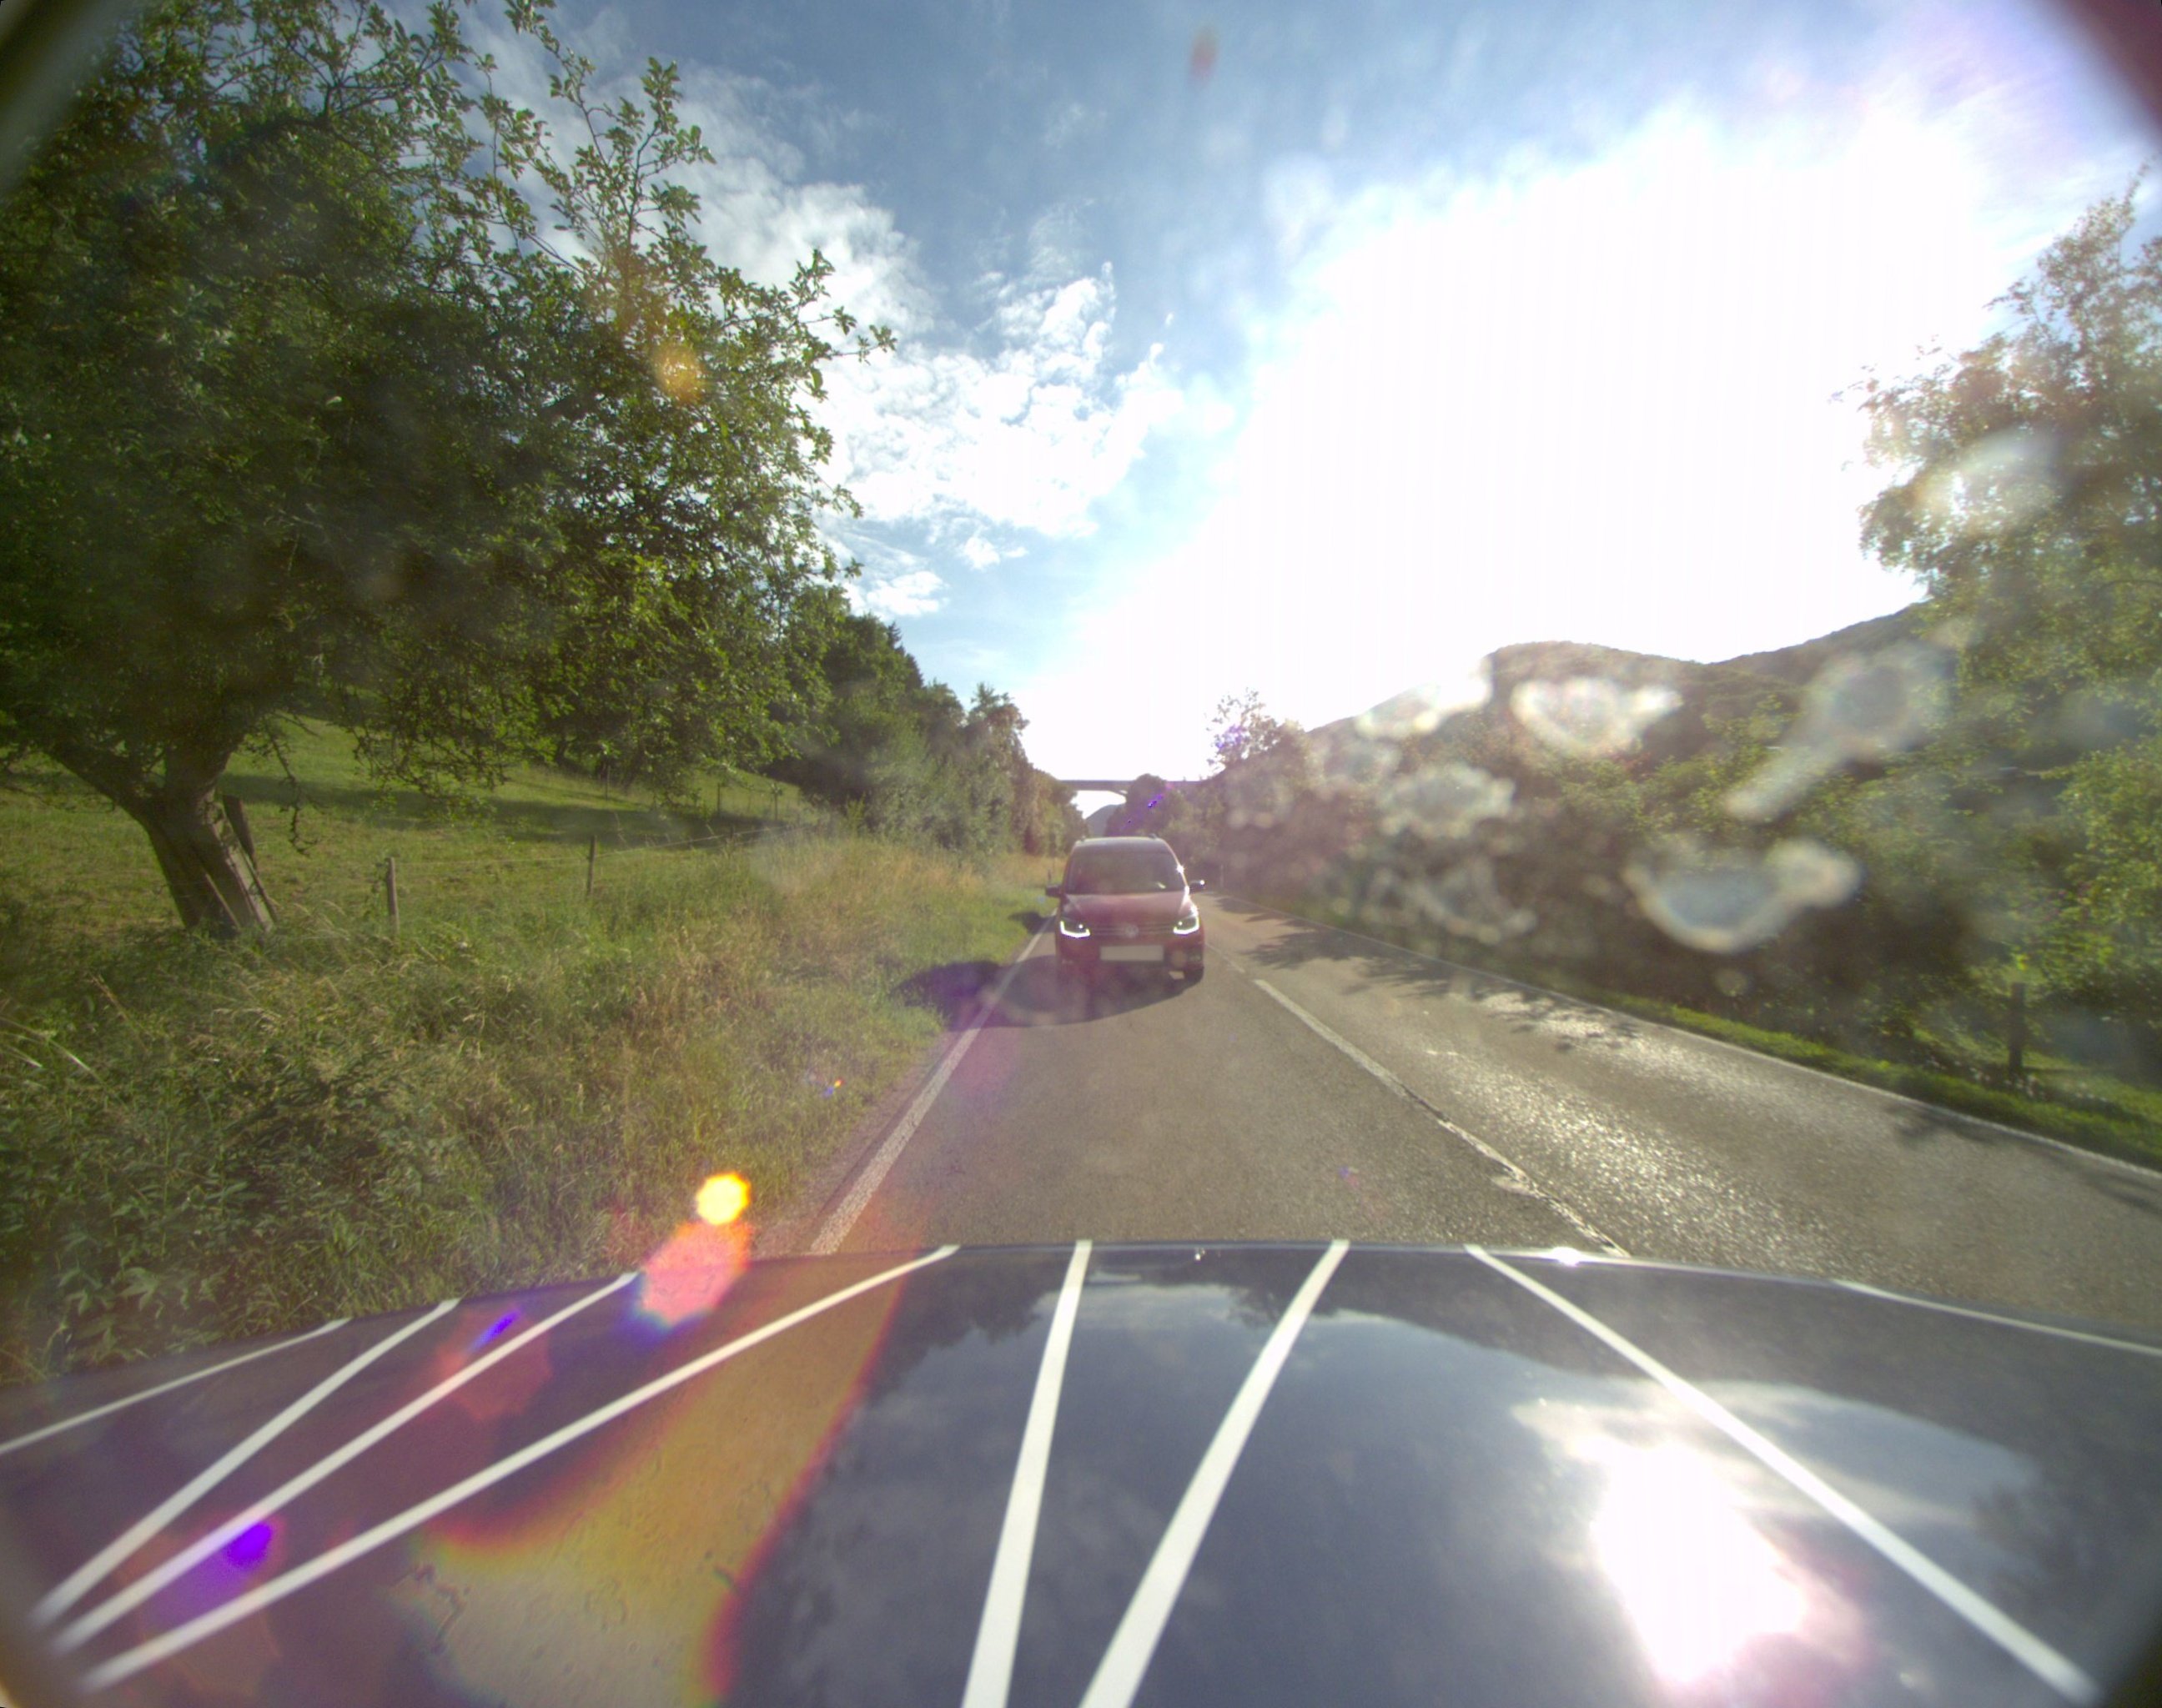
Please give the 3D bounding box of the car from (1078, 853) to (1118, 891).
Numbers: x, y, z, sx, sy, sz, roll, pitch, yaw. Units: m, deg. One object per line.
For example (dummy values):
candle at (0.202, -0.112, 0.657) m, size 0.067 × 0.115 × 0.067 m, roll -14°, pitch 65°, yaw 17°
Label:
car at (0.829, 0.835, 37.108) m, size 1.753 × 1.608 × 4.288 m, roll -3°, pitch 0°, yaw 1°

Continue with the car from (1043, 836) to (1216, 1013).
car at (0.561, 0.737, 10.198) m, size 1.753 × 1.799 × 4.288 m, roll -3°, pitch 1°, yaw 1°
